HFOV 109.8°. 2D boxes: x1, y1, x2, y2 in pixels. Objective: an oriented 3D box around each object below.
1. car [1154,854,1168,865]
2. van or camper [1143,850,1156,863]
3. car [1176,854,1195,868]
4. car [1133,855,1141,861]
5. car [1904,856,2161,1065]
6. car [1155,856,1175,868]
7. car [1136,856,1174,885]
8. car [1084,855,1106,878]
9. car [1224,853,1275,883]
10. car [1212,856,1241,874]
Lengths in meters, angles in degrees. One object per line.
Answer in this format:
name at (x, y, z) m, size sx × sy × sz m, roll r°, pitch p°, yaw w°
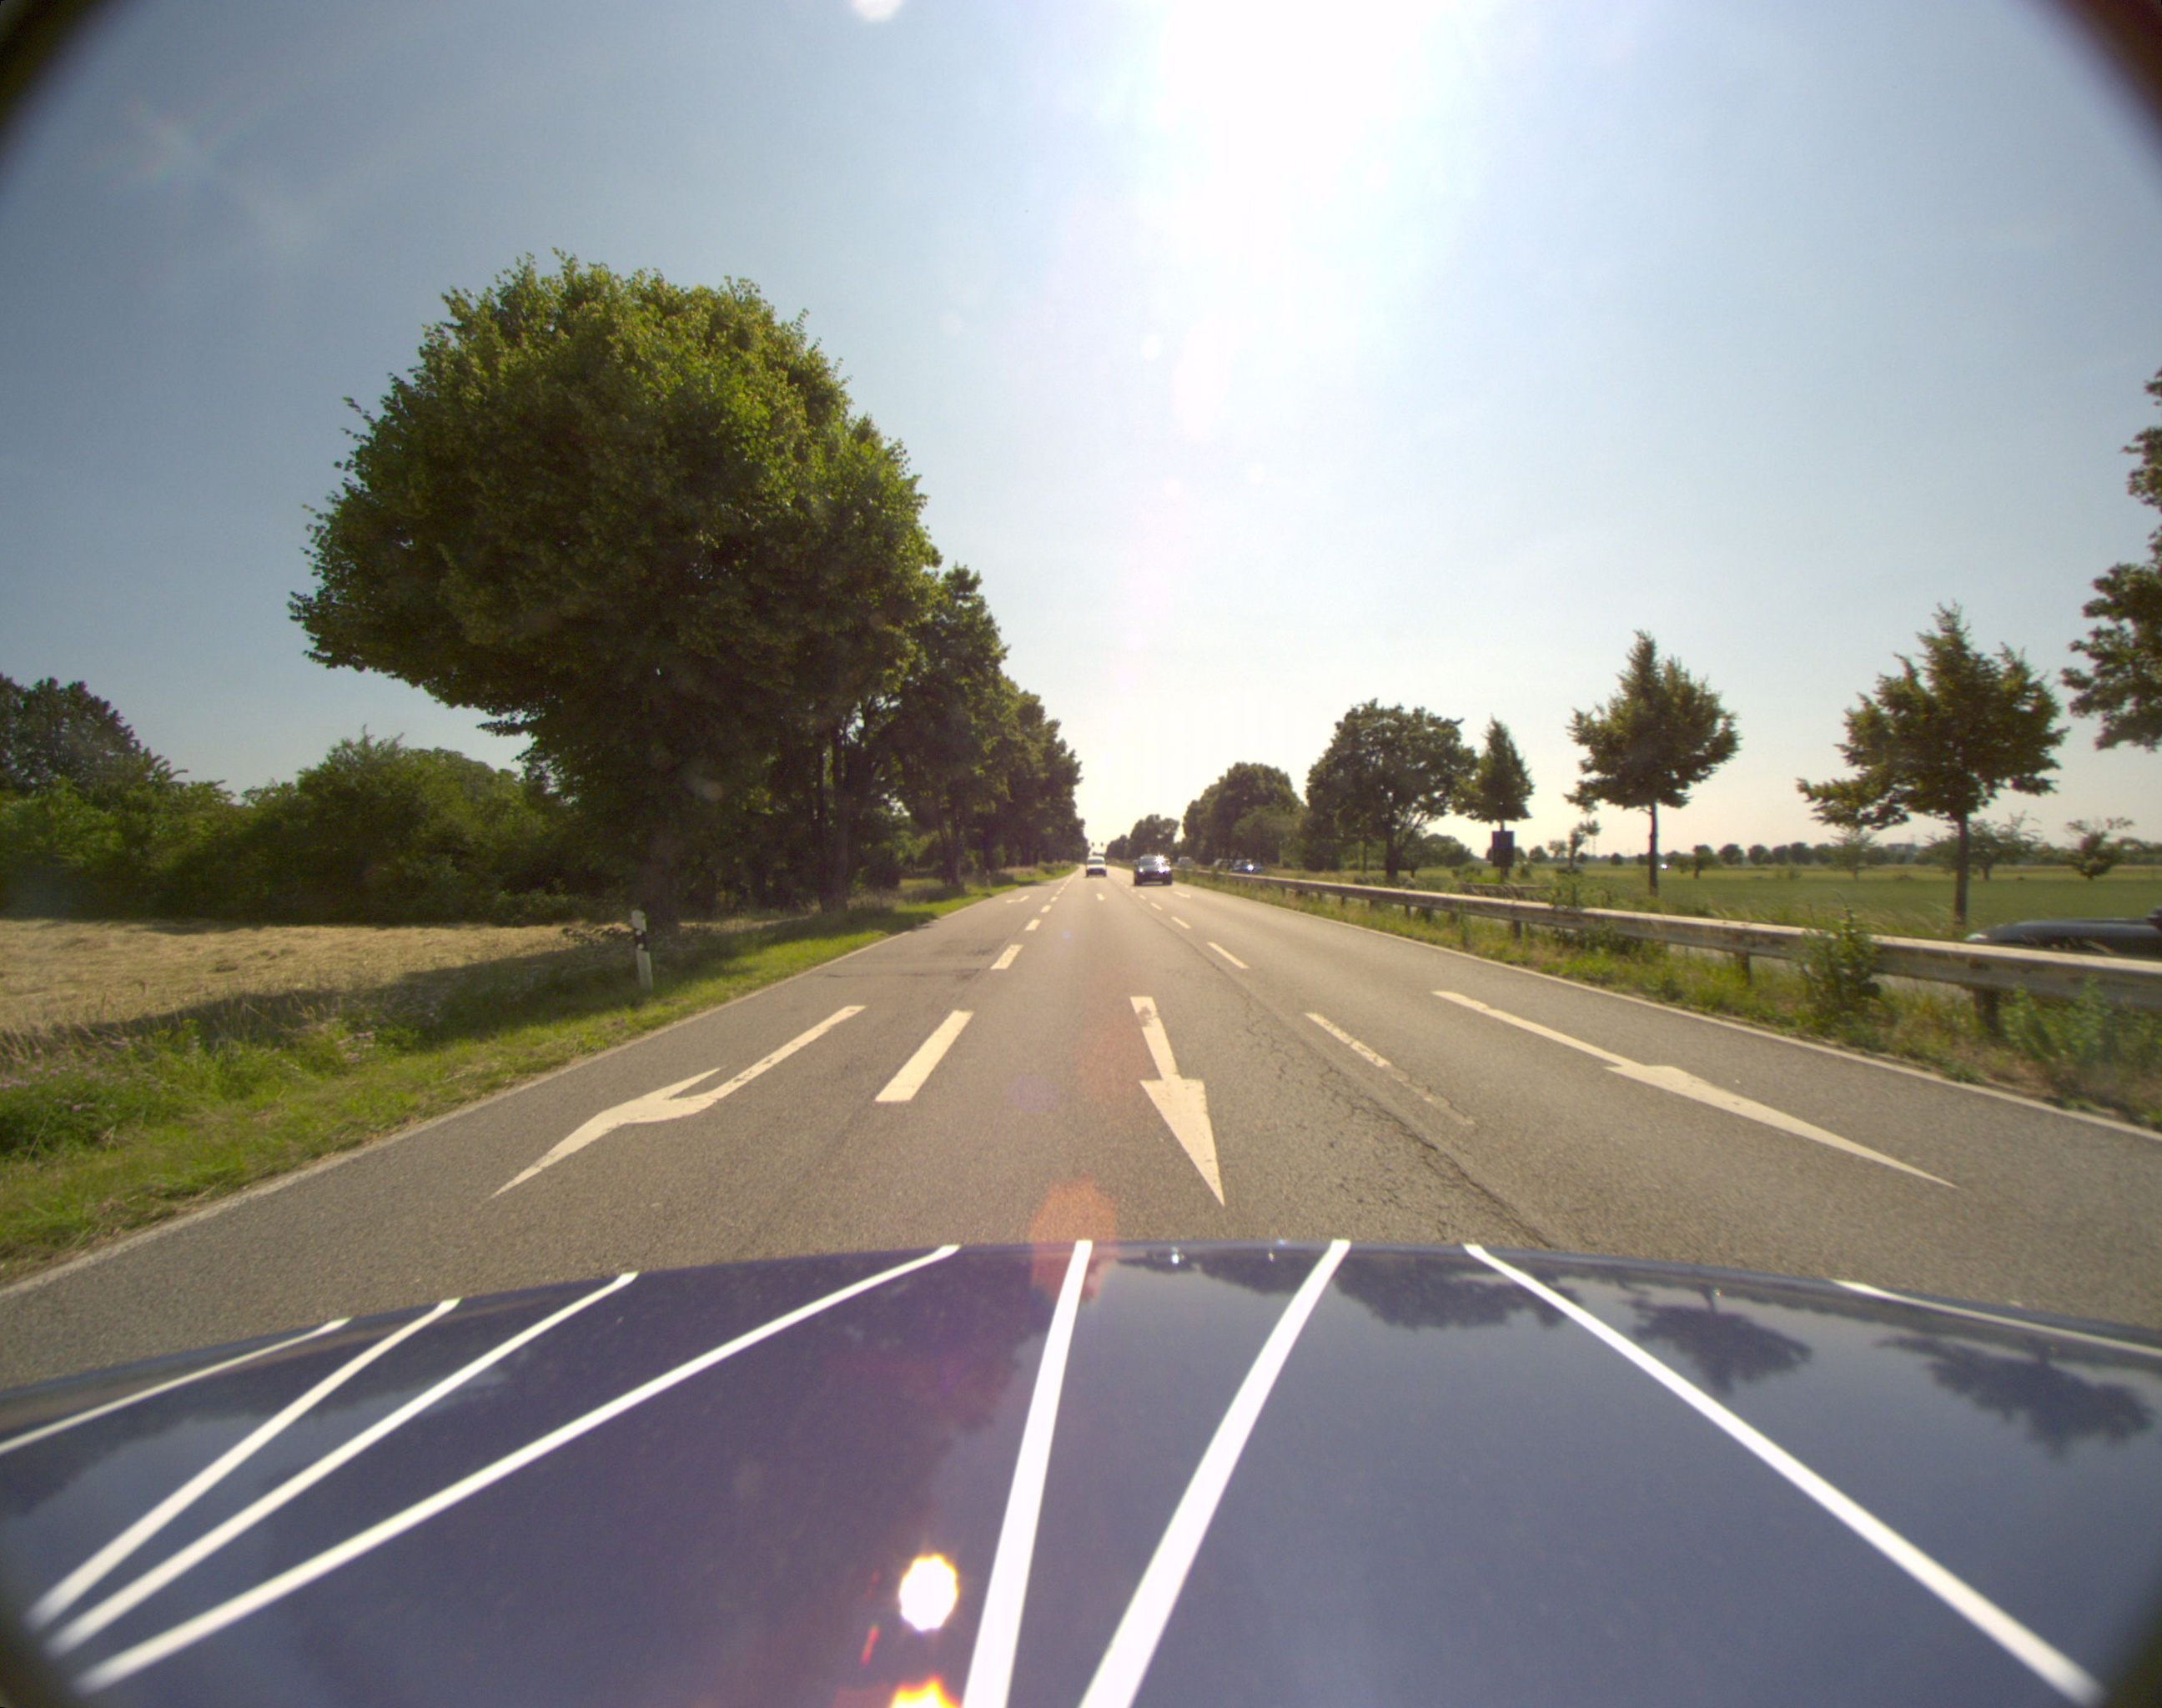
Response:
car at (14.846, 0.954, 140.771) m, size 2.043 × 2.002 × 4.532 m, roll 0°, pitch 0°, yaw 0°
van or camper at (15.670, 0.506, 173.145) m, size 2.391 × 2.931 × 7.091 m, roll 0°, pitch 0°, yaw 1°
car at (14.676, 0.966, 106.643) m, size 1.998 × 1.949 × 4.927 m, roll 0°, pitch 0°, yaw 0°
car at (15.853, 1.215, 216.237) m, size 1.960 × 1.581 × 4.865 m, roll 0°, pitch 0°, yaw 0°
car at (9.277, 0.817, 5.409) m, size 1.998 × 1.594 × 4.480 m, roll 0°, pitch 0°, yaw 0°
car at (10.603, 1.022, 96.449) m, size 1.998 × 1.547 × 4.480 m, roll 0°, pitch 0°, yaw 0°
car at (4.107, 0.912, 42.845) m, size 1.860 × 1.507 × 4.101 m, roll -1°, pitch 0°, yaw 2°
car at (1.193, 1.049, 64.762) m, size 1.777 × 1.863 × 4.581 m, roll 0°, pitch 0°, yaw 0°
car at (9.856, 0.804, 44.810) m, size 1.998 × 1.653 × 4.480 m, roll 0°, pitch 0°, yaw 0°
car at (14.244, 1.042, 74.512) m, size 1.998 × 1.653 × 4.480 m, roll 0°, pitch 0°, yaw 0°
